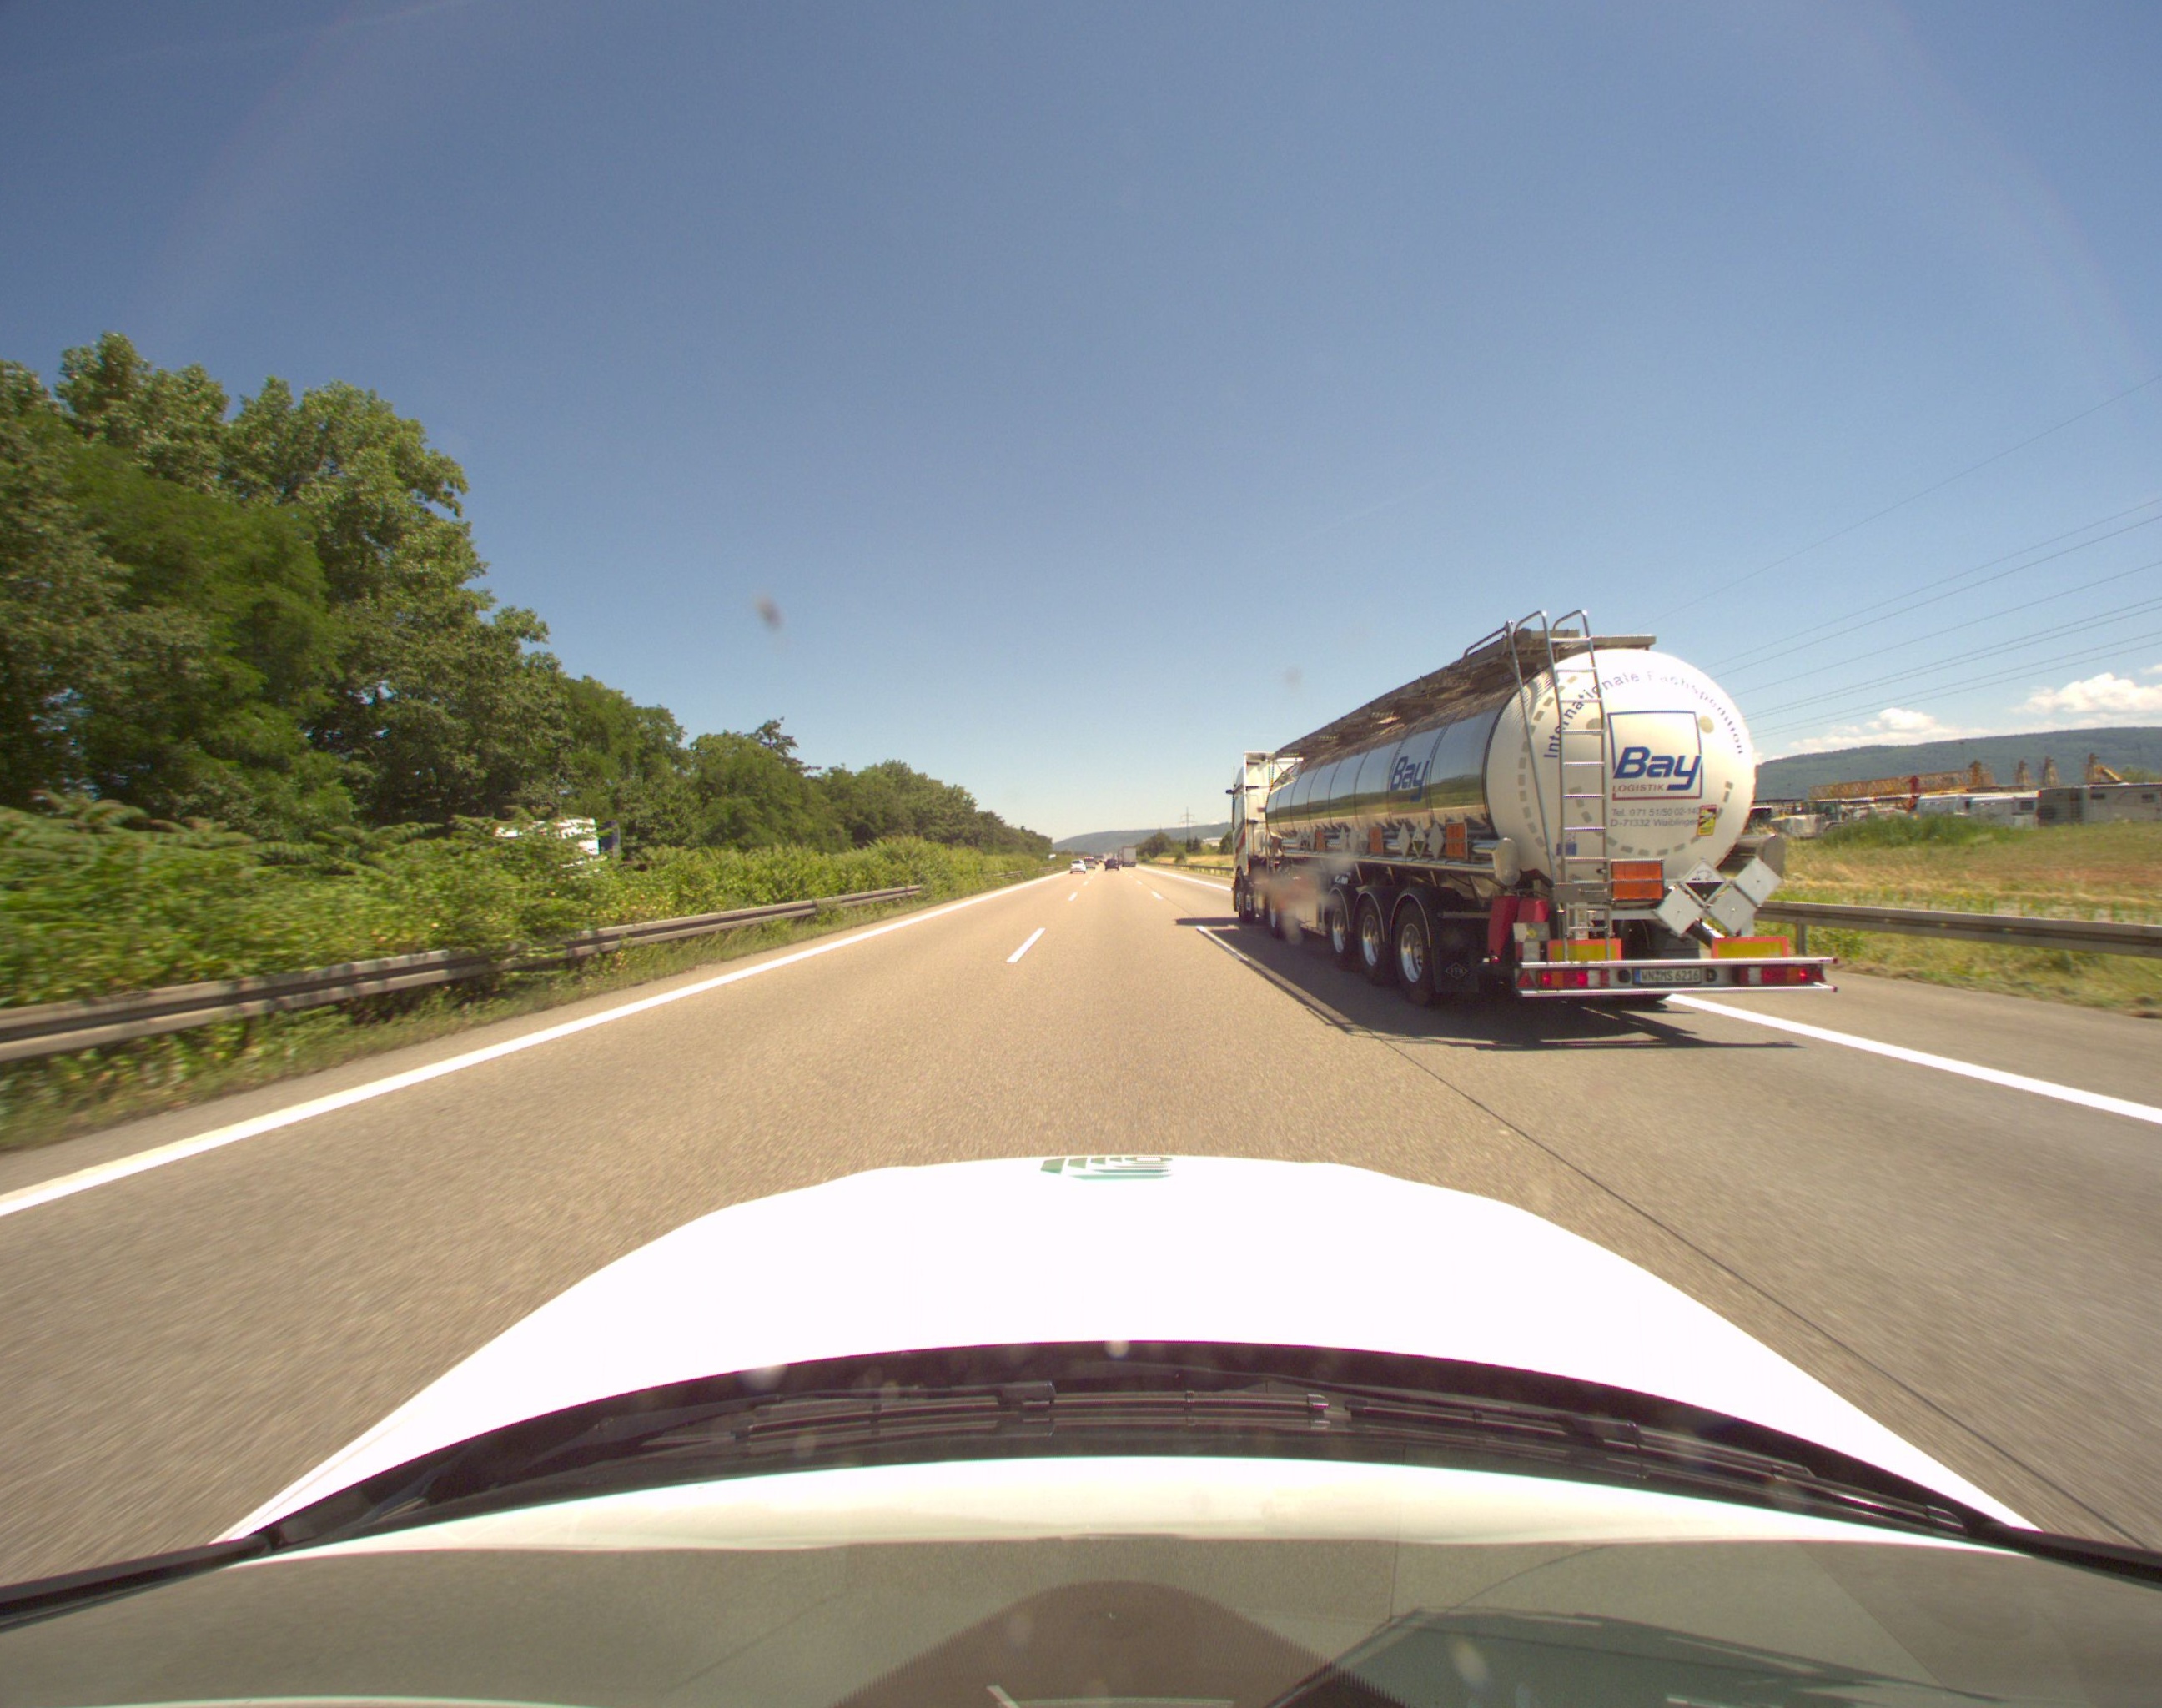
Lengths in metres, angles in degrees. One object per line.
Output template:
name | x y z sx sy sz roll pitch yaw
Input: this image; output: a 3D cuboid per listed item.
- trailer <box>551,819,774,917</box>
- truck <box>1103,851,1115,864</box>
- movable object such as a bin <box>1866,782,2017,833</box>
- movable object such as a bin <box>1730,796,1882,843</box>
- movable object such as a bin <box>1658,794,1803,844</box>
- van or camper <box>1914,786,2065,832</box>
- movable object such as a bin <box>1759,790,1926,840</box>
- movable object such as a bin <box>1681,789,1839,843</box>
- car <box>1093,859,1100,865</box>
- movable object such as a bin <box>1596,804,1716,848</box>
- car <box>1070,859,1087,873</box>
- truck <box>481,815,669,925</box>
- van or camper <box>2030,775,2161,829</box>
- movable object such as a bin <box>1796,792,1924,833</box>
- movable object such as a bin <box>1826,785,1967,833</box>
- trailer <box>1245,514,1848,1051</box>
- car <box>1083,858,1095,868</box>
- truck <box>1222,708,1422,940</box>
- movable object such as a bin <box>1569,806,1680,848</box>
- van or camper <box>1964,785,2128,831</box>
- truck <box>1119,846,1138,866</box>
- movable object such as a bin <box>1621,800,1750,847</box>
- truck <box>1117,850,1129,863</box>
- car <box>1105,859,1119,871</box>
trailer | -18.424 0.547 37.669 2.580 3.705 13.699 0 0 3
truck | 7.789 1.030 226.748 3.086 3.474 11.545 0 0 1
movable object such as a bin | 72.913 -3.885 69.157 8.997 3.572 2.927 -3 -1 6
movable object such as a bin | 57.014 -2.658 64.222 8.681 3.006 2.962 -4 -1 7
movable object such as a bin | 56.774 -3.002 71.451 9.660 3.689 2.983 -4 -1 8
van or camper | 55.610 -2.727 49.963 6.091 2.402 2.604 -3 0 3
movable object such as a bin | 56.628 -2.835 60.790 8.678 3.006 3.222 -4 -1 8
movable object such as a bin | 56.442 -3.091 67.968 9.663 3.689 3.426 -4 -1 7
car | 4.410 2.224 232.058 1.845 1.633 4.002 0 0 2
movable object such as a bin | 57.010 -2.764 80.977 9.675 3.689 2.636 -3 -1 3
car | -0.236 1.324 90.413 1.799 1.468 4.002 0 0 2
truck | -18.806 0.533 30.897 2.580 3.705 6.833 0 0 3
van or camper | 55.461 -2.801 43.547 6.316 2.552 2.440 -3 0 3
movable object such as a bin | 73.395 -3.871 76.918 8.644 3.149 2.927 -3 -1 6
movable object such as a bin | 73.311 -3.981 73.378 8.997 3.572 2.927 -3 -1 6
trailer | 4.641 -0.533 11.731 2.570 4.074 11.106 0 0 1
car | 1.252 1.384 129.006 1.845 1.633 4.002 0 0 2
truck | 4.790 -0.519 17.524 2.564 4.072 6.394 0 0 1
movable object such as a bin | 57.138 -2.789 85.795 9.682 3.689 2.679 -3 -1 1
van or camper | 55.551 -2.627 47.011 6.091 2.220 2.604 -3 0 3
truck | 9.456 0.405 162.963 3.253 3.857 11.634 0 0 1
movable object such as a bin | 57.086 -2.839 77.083 9.675 3.689 2.979 -3 -1 3
truck | 11.437 0.729 221.638 3.086 3.474 11.545 0 0 1
car | 4.239 1.463 111.389 1.877 1.515 4.002 0 0 2
